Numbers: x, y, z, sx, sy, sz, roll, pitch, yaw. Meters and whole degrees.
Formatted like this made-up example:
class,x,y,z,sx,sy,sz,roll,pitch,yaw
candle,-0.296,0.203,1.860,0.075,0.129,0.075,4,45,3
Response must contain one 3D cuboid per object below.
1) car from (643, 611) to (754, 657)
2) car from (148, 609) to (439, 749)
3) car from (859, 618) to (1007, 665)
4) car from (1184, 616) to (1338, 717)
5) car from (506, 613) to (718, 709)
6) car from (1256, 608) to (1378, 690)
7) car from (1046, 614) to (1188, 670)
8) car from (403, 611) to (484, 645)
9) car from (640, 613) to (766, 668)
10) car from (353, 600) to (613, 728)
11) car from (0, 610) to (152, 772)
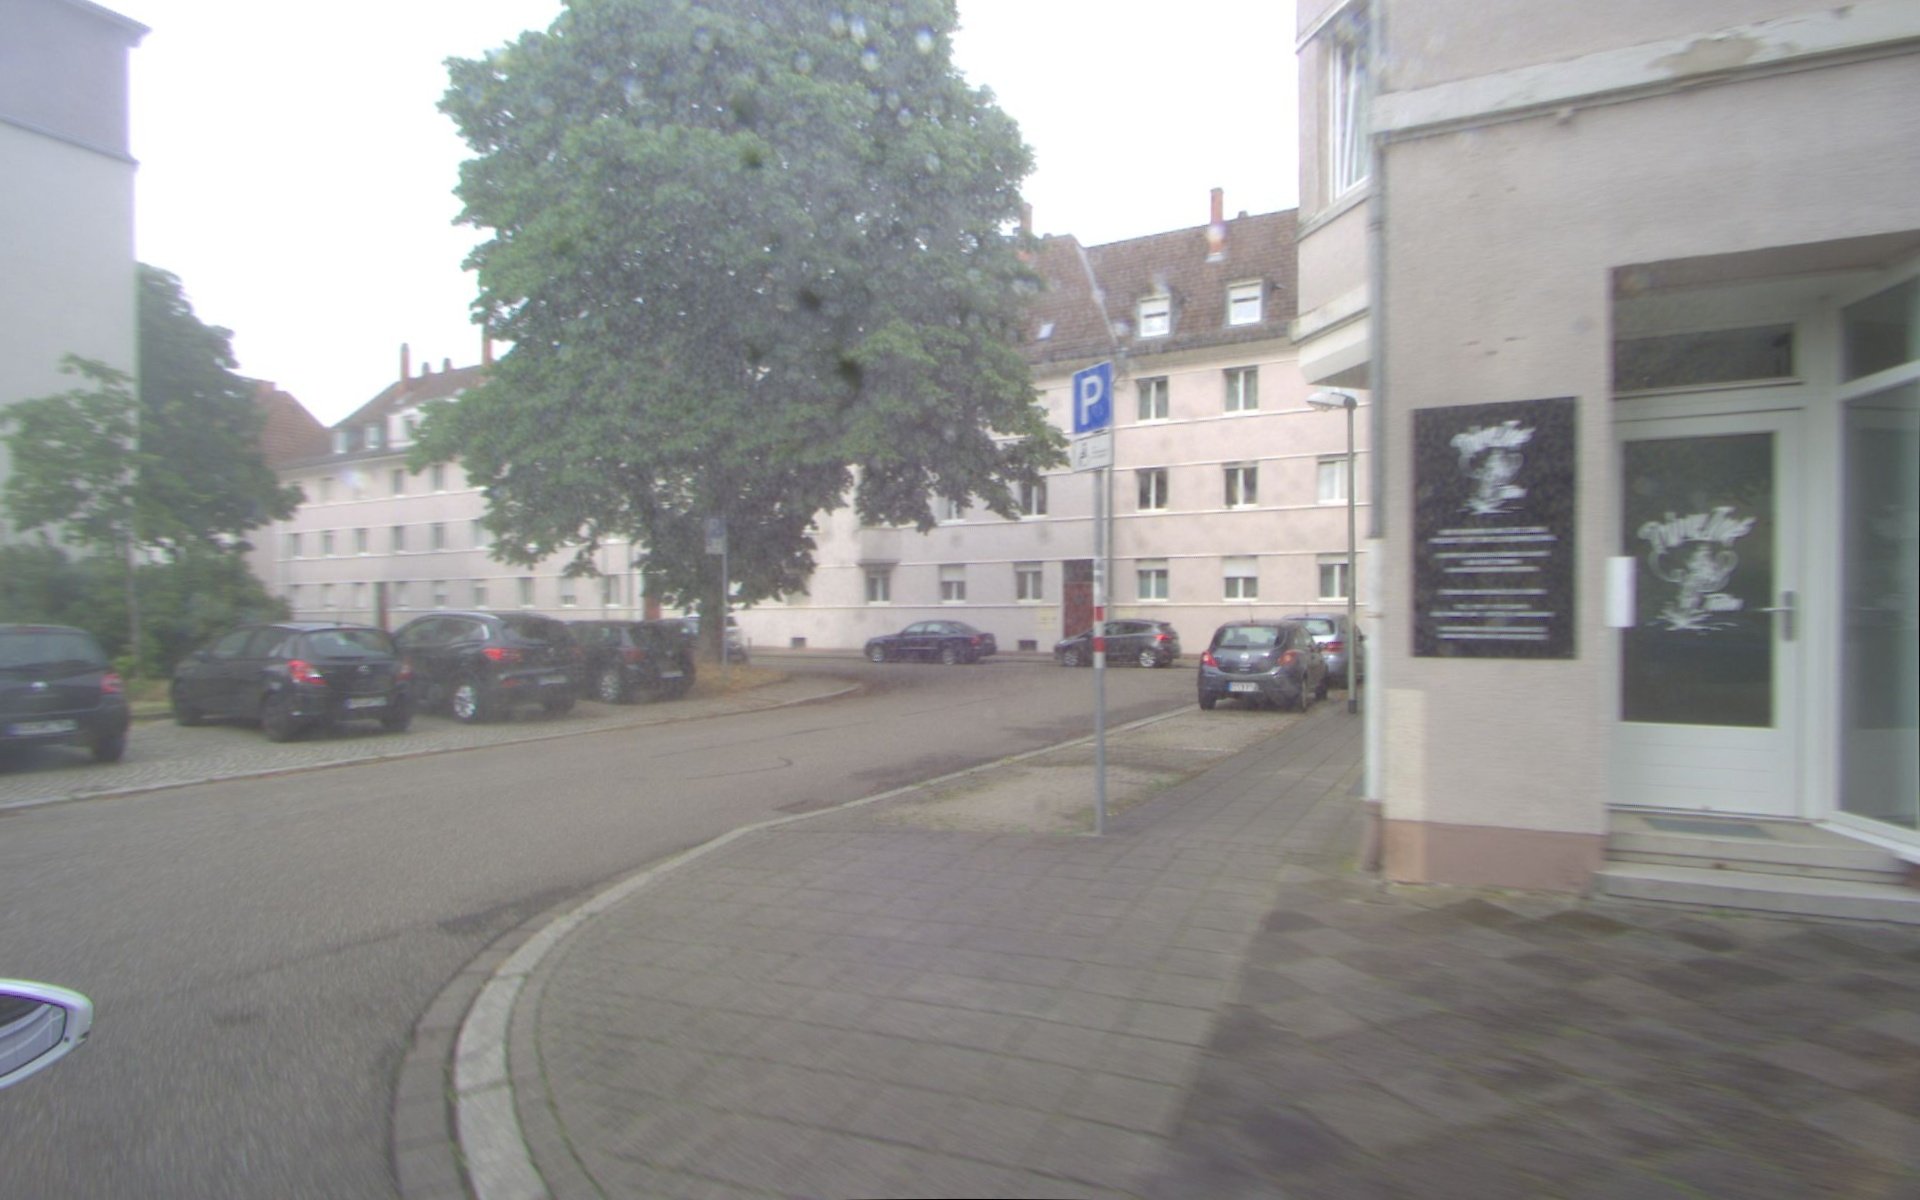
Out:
class,x,y,z,sx,sy,sz,roll,pitch,yaw
car,-10.580,1.347,40.446,4.222,1.696,1.841,0,1,28
car,-9.358,0.973,13.964,4.295,1.586,1.832,1,0,33
car,-0.946,1.372,34.257,4.872,1.440,1.743,1,1,28
car,5.296,1.066,17.311,1.736,1.509,3.920,0,-1,29
car,-6.566,1.061,18.823,3.787,1.598,1.821,0,0,32
car,8.087,1.045,22.464,1.737,1.648,4.180,0,-1,32
car,4.856,1.253,31.024,4.015,1.545,1.755,1,1,28
car,-24.798,1.324,48.049,3.768,1.546,1.694,0,1,30
car,-7.548,1.182,29.356,3.540,1.512,1.523,0,-3,32
car,-7.593,0.916,15.870,4.010,1.720,1.906,1,0,33
car,-11.035,0.893,11.184,4.495,1.483,1.832,1,0,33
